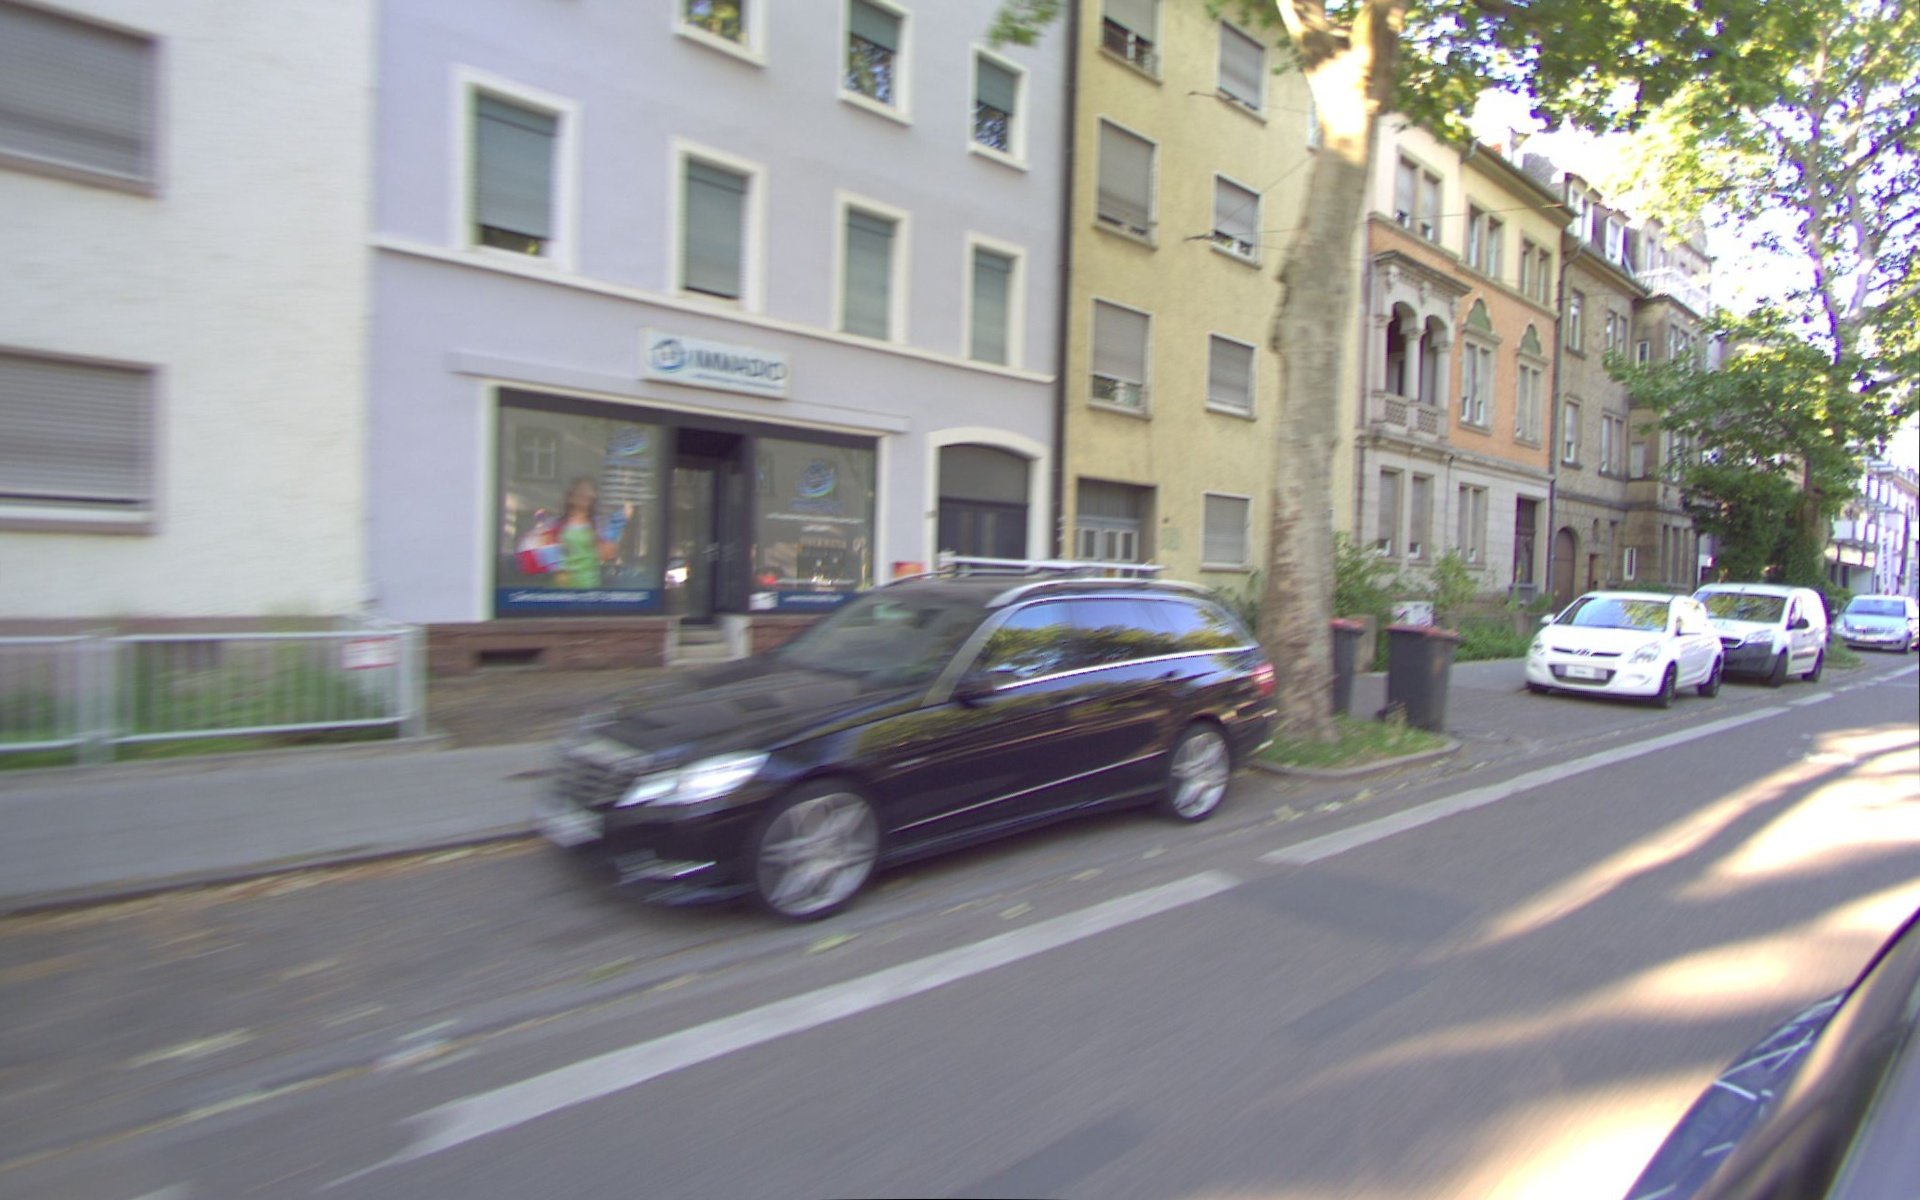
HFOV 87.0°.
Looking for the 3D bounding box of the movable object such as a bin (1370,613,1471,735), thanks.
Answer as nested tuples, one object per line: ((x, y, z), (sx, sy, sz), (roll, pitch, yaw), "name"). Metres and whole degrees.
((4.542, 0.703, 9.989), (0.658, 1.130, 0.682), (0, 0, -39), "movable object such as a bin")

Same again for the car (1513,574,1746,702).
((9.642, 0.443, 14.451), (4.121, 1.545, 1.702), (0, 2, -41), "car")

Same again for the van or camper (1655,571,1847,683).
((14.422, 0.413, 18.379), (4.301, 1.741, 1.791), (0, 3, -40), "van or camper")

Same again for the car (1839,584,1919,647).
((27.061, 0.408, 29.334), (3.762, 1.638, 1.790), (0, 4, -41), "car")

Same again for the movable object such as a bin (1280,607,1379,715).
((3.879, 0.632, 10.636), (0.658, 1.043, 0.683), (4, 0, -39), "movable object such as a bin")

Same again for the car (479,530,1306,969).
((-0.113, 0.481, 5.989), (4.583, 1.585, 1.998), (-1, 5, -41), "car")

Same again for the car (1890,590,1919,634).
((34.486, 0.436, 35.880), (3.507, 1.484, 1.790), (0, 4, -41), "car")

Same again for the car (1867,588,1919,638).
((30.949, 0.414, 32.809), (3.507, 1.484, 1.790), (0, 4, -41), "car")
